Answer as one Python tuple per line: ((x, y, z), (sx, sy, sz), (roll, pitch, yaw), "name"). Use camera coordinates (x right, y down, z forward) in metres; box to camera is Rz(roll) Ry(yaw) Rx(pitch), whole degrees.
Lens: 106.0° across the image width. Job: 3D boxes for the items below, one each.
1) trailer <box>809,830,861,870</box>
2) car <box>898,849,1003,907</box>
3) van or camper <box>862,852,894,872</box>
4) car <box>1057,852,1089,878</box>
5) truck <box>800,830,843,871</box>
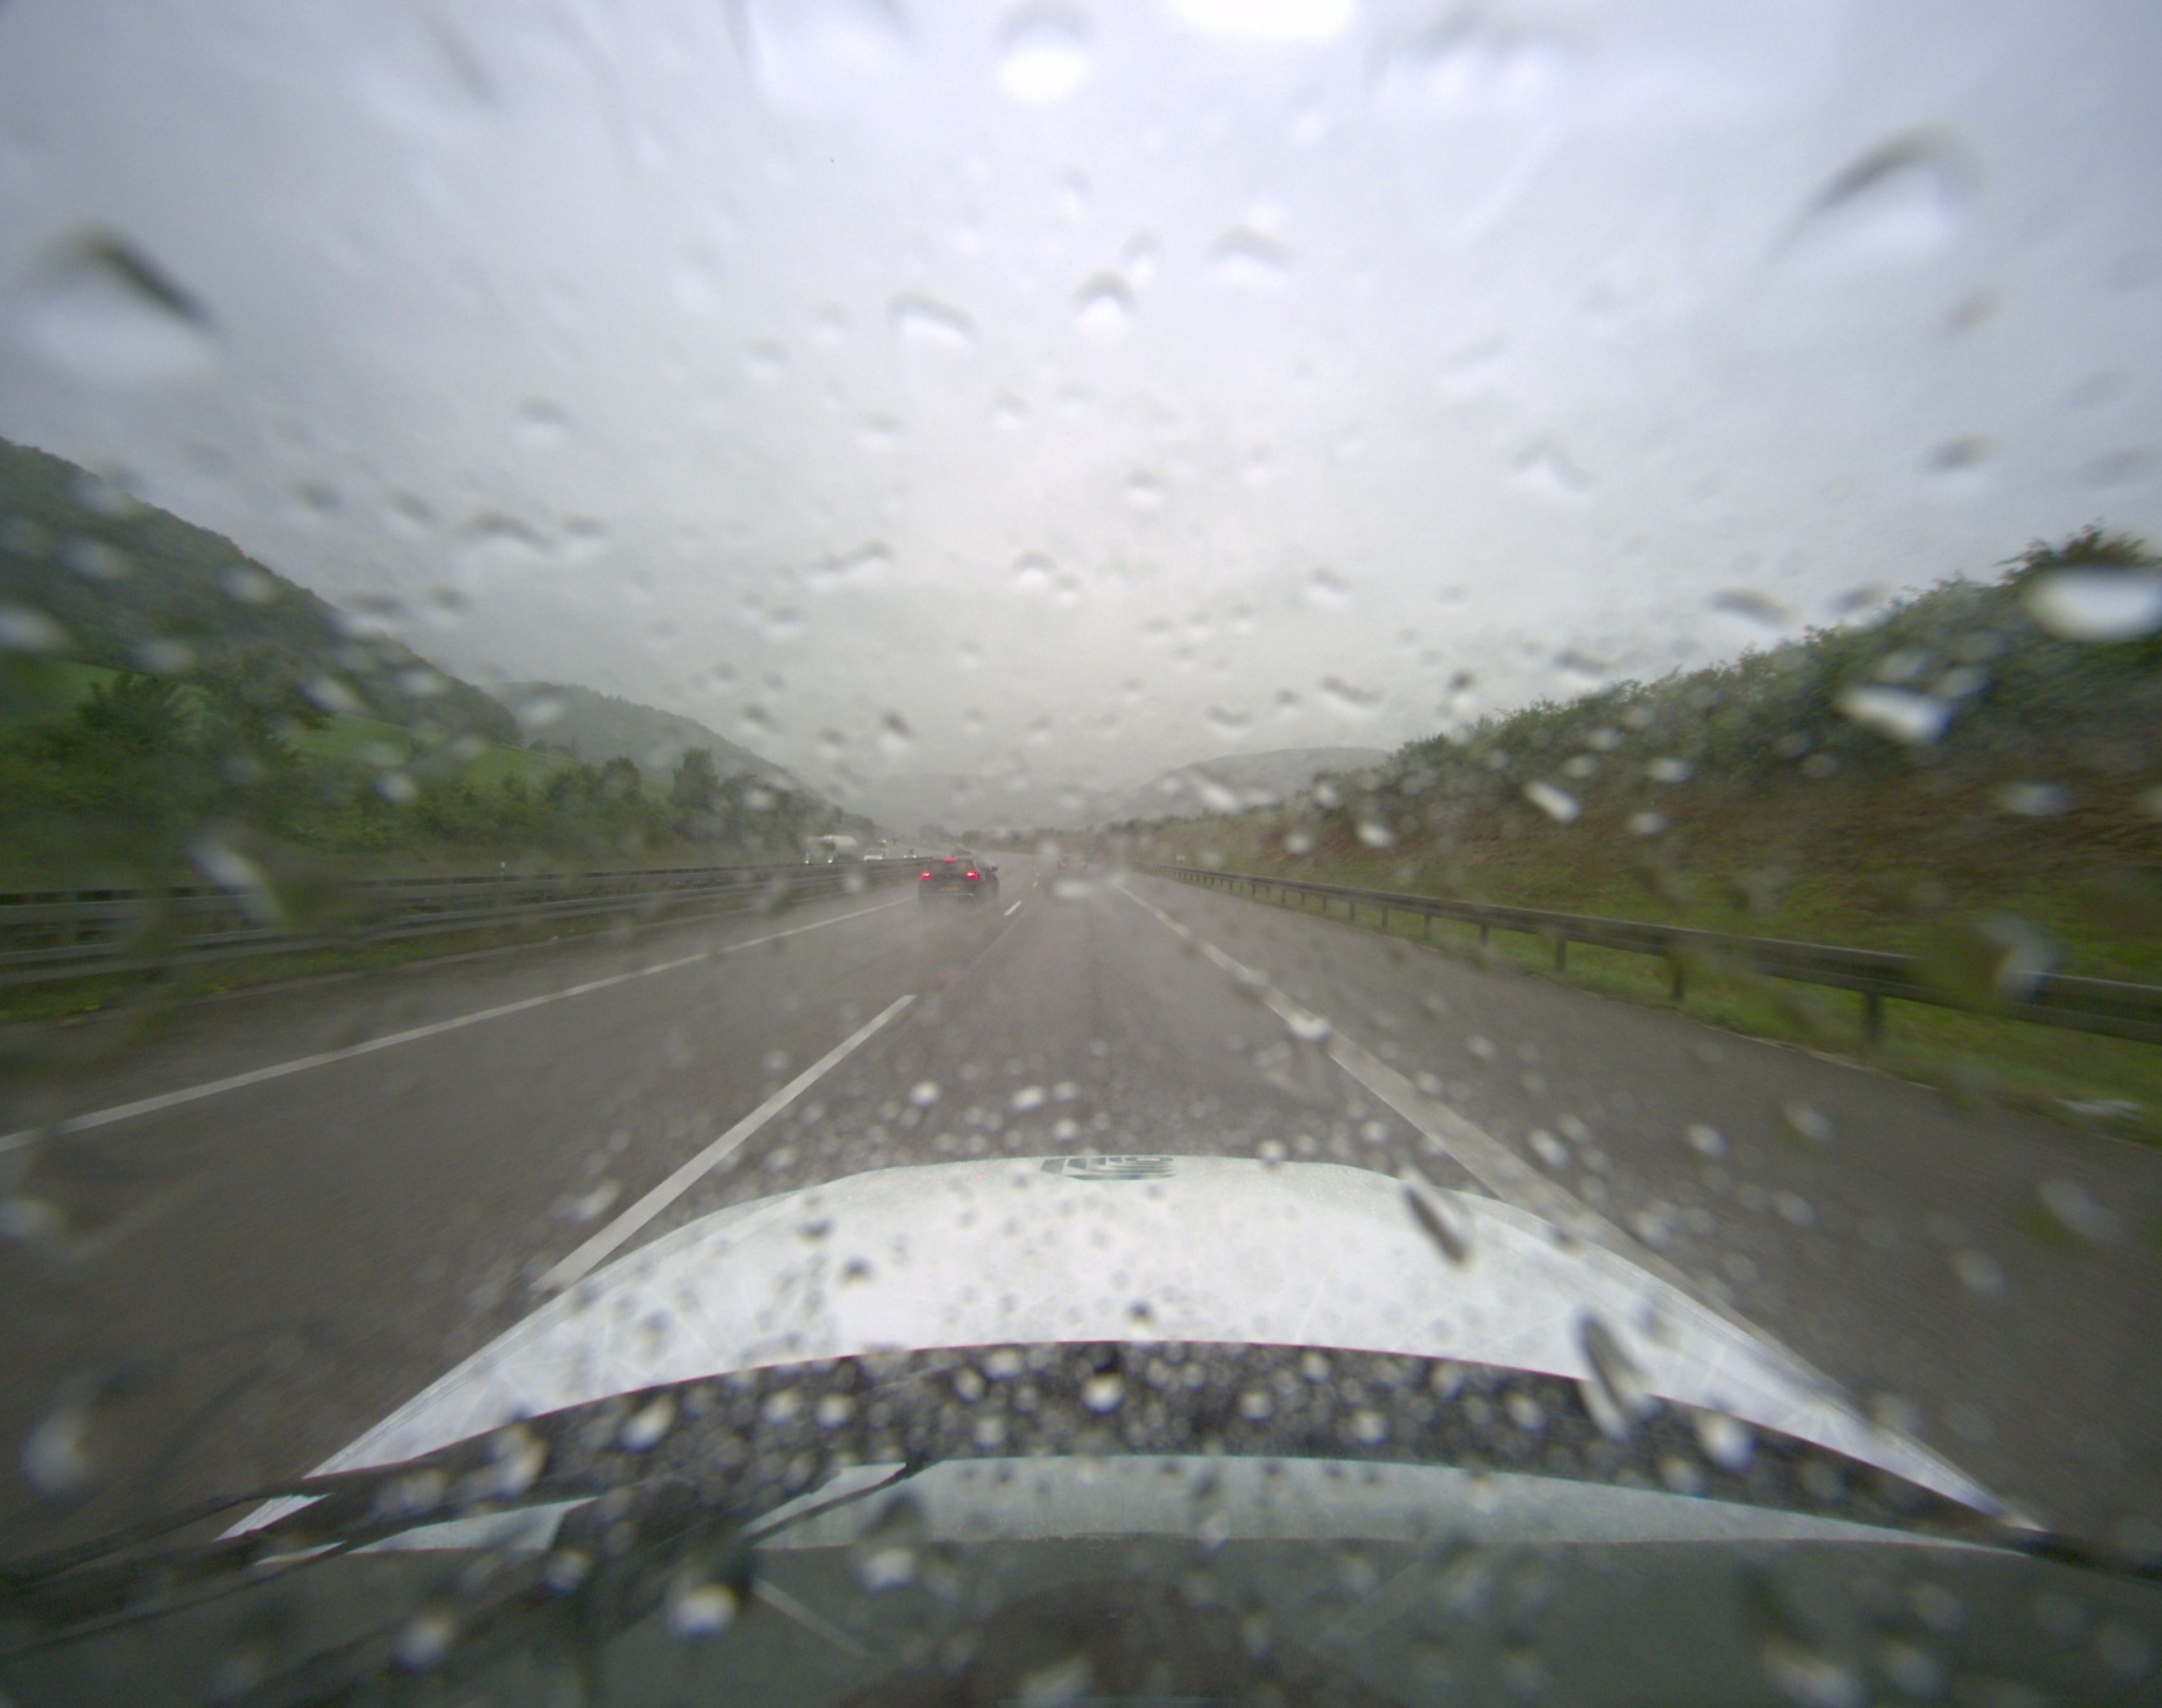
((-25.538, -0.407, 85.212), (2.930, 3.902, 12.540), (-1, 0, -6), "trailer")
((-3.706, 0.665, 24.151), (2.399, 1.515, 4.781), (1, -1, -1), "car")
((-20.304, 0.763, 81.674), (1.989, 1.878, 5.341), (-1, 0, -3), "van or camper")
((-0.546, 0.673, 50.079), (1.676, 1.472, 3.807), (1, -1, -5), "car")
((-24.911, -0.348, 78.319), (2.880, 3.802, 5.304), (-1, 0, -6), "truck")
